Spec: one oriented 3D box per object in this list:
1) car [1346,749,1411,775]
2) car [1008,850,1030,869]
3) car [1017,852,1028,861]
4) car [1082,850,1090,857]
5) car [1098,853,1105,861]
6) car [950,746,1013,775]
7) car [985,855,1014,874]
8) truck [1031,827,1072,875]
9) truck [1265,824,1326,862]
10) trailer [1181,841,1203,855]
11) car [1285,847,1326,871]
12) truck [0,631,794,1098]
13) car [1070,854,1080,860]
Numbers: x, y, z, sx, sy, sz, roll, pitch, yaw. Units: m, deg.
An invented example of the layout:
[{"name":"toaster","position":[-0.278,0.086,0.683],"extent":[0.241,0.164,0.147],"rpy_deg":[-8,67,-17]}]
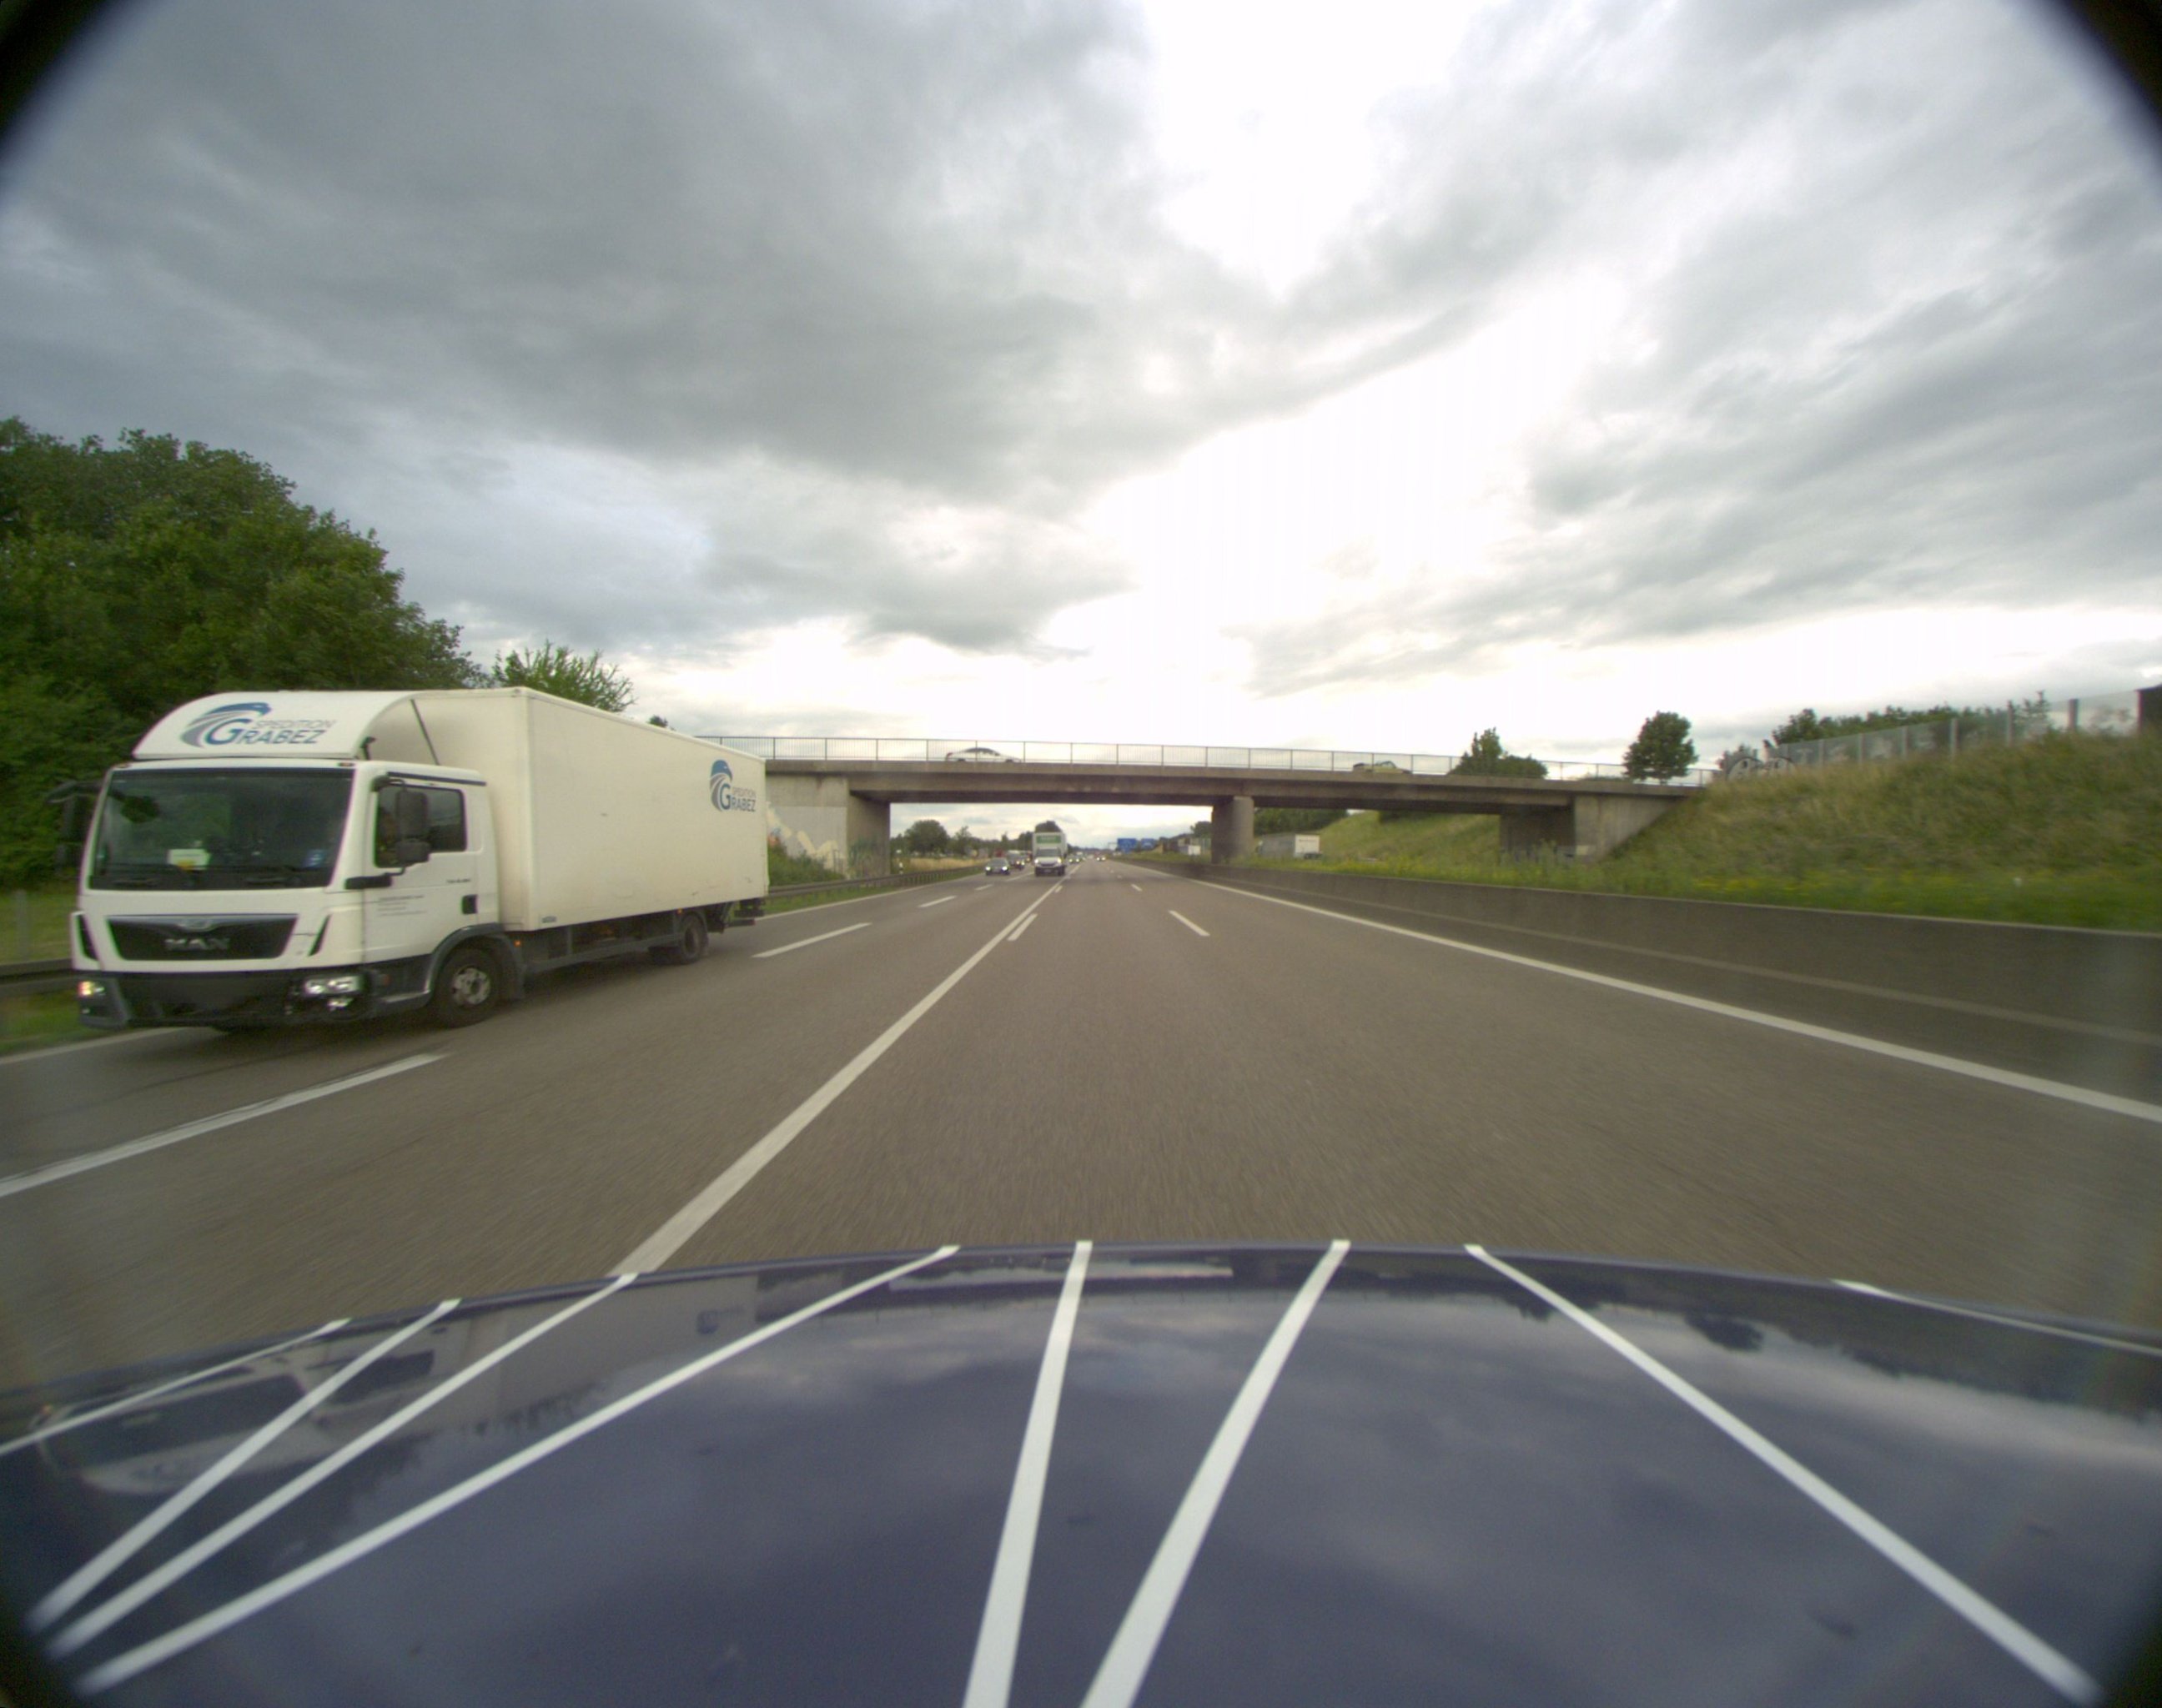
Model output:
[{"name":"car","position":[18.460,-5.707,47.203],"extent":[3.341,1.439,1.659],"rpy_deg":[-1,1,-10]},{"name":"car","position":[-6.890,0.575,84.708],"extent":[2.150,2.051,4.956],"rpy_deg":[-1,0,-3]},{"name":"car","position":[-10.783,0.472,141.068],"extent":[1.833,1.746,5.064],"rpy_deg":[0,0,-2]},{"name":"car","position":[1.386,-0.131,204.377],"extent":[1.998,2.002,4.000],"rpy_deg":[0,0,1]},{"name":"car","position":[5.393,0.708,199.391],"extent":[1.998,2.002,4.000],"rpy_deg":[0,0,1]},{"name":"car","position":[-5.583,-5.198,42.517],"extent":[3.341,1.439,1.659],"rpy_deg":[-1,1,-11]},{"name":"car","position":[-6.881,0.838,64.441],"extent":[1.922,1.541,4.923],"rpy_deg":[0,0,1]},{"name":"truck","position":[-2.281,-0.235,61.419],"extent":[2.777,3.484,9.062],"rpy_deg":[-2,0,1]},{"name":"truck","position":[22.666,-1.145,81.136],"extent":[3.005,3.662,13.008],"rpy_deg":[-1,1,1]},{"name":"trailer","position":[23.764,-1.286,163.491],"extent":[2.928,2.938,13.970],"rpy_deg":[-2,0,1]},{"name":"car","position":[17.653,0.375,59.872],"extent":[1.731,1.818,4.720],"rpy_deg":[0,0,-1]},{"name":"truck","position":[-7.203,0.075,10.199],"extent":[3.112,3.450,8.890],"rpy_deg":[-2,0,1]},{"name":"car","position":[-1.143,0.555,149.038],"extent":[1.781,1.180,4.000],"rpy_deg":[0,0,1]}]
